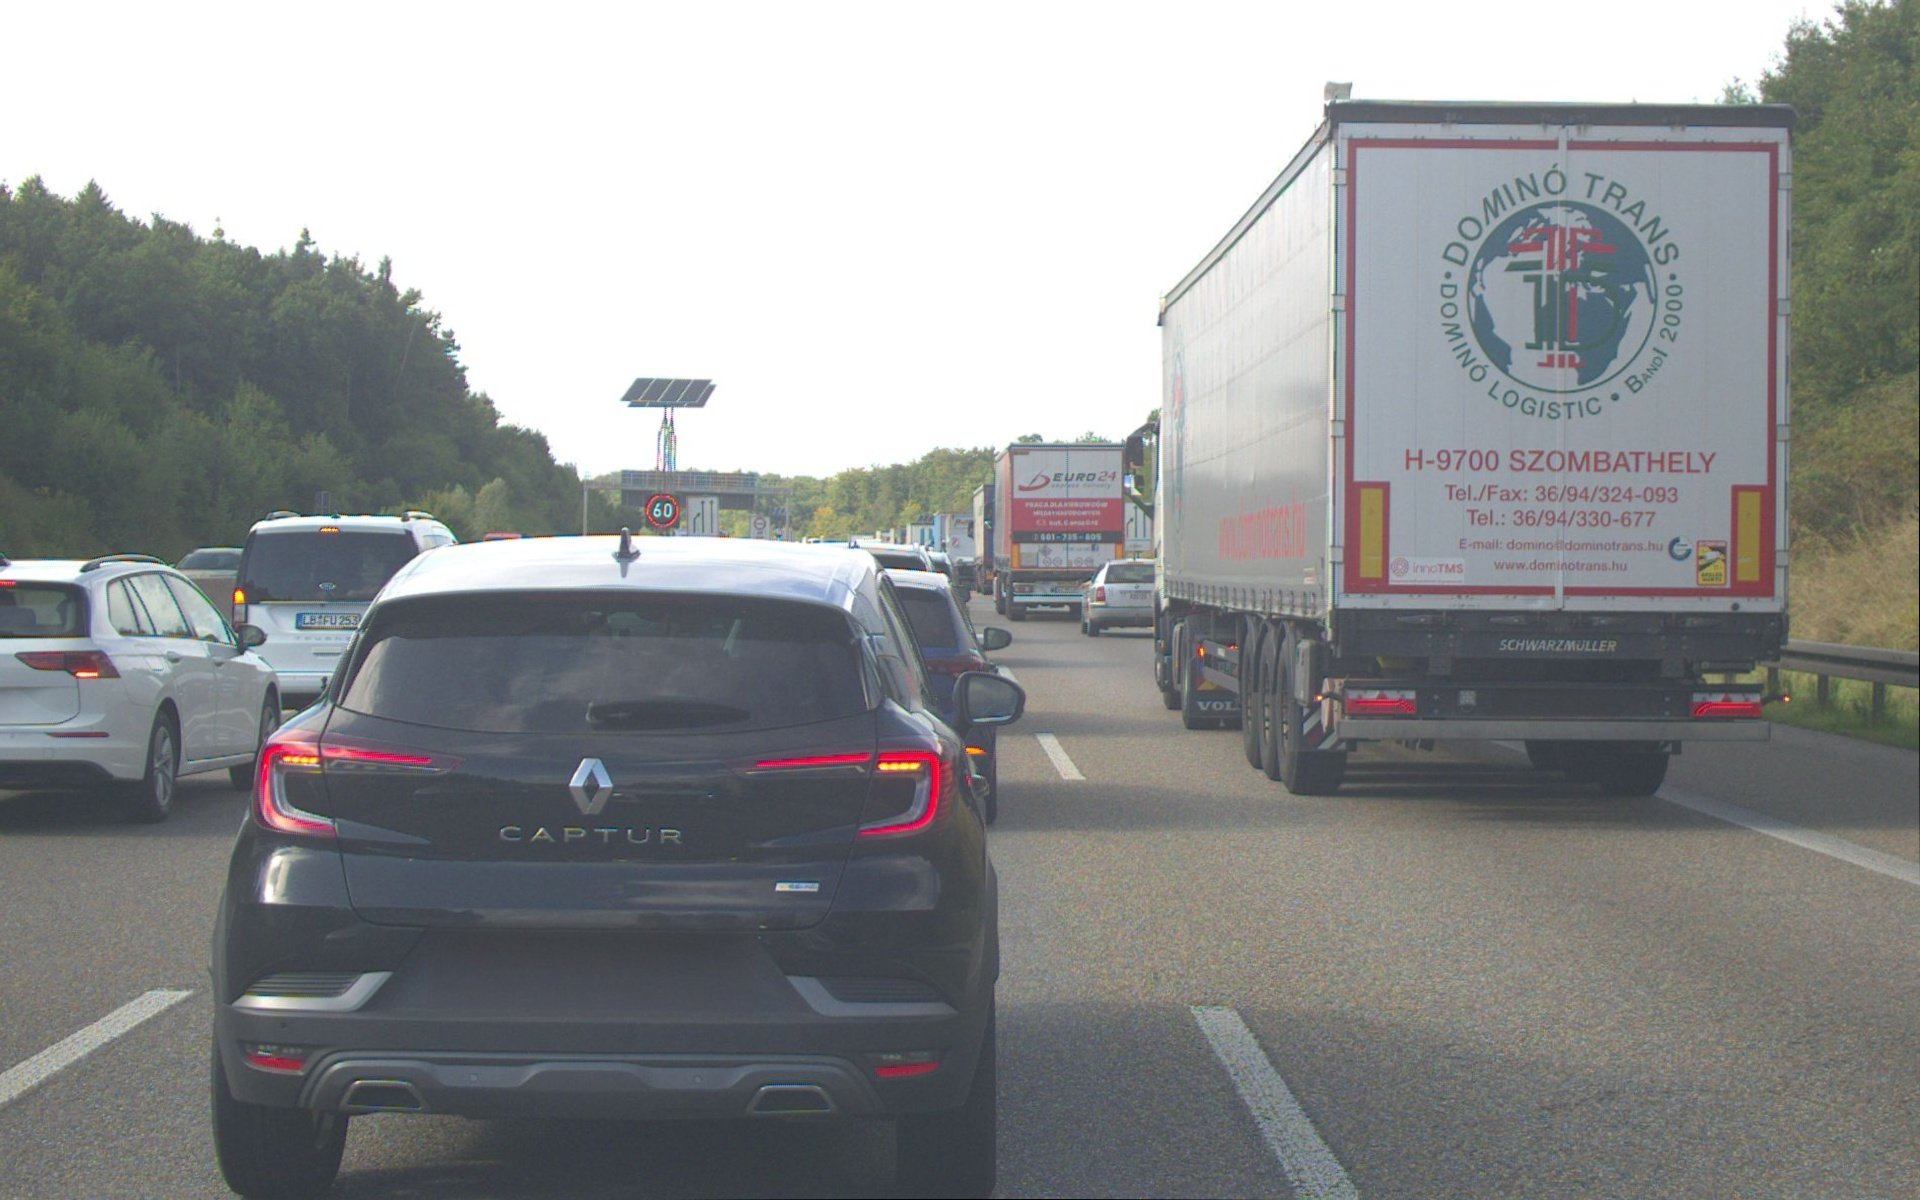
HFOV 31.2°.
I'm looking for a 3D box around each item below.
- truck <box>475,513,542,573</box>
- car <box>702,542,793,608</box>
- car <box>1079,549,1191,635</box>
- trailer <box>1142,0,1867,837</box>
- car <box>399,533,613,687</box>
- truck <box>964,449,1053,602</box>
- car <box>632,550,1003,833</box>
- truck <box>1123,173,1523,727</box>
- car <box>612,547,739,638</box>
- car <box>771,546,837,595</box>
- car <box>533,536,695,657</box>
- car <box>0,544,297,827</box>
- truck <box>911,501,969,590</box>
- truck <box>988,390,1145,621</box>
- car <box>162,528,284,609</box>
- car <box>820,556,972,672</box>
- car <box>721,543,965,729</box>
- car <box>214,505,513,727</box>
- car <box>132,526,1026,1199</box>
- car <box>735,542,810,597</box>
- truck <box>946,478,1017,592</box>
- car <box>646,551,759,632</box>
[{"bbox_3d":[-22.018,-2.802,167.951,2.422,2.845,6.431,1,1,0],"label":"truck"},{"bbox_3d":[-5.283,-0.644,85.796,1.993,1.607,4.000,1,1,0],"label":"car"},{"bbox_3d":[3.257,-0.161,64.451,1.804,1.527,3.926,1,0,-1],"label":"car"},{"bbox_3d":[3.260,-1.177,25.005,3.002,4.645,13.291,1,1,-1],"label":"trailer"},{"bbox_3d":[-5.110,0.095,39.170,1.855,1.635,3.925,1,0,1],"label":"car"},{"bbox_3d":[1.815,-2.750,131.222,3.166,5.486,12.737,1,0,1],"label":"truck"},{"bbox_3d":[-0.763,0.483,20.623,1.993,1.509,4.000,1,0,0],"label":"car"},{"bbox_3d":[3.202,-1.312,31.982,2.997,4.651,5.940,0,1,-1],"label":"truck"},{"bbox_3d":[-5.252,-0.141,63.856,1.993,1.607,4.000,1,0,0],"label":"car"},{"bbox_3d":[-5.228,-1.015,115.697,1.993,1.607,4.000,1,1,0],"label":"car"},{"bbox_3d":[-5.134,-0.058,51.508,1.993,1.716,4.000,1,0,0],"label":"car"},{"bbox_3d":[-5.193,0.419,19.913,1.804,1.456,4.308,0,0,1],"label":"car"},{"bbox_3d":[-1.143,-3.203,205.736,3.166,5.142,12.737,1,0,1],"label":"truck"},{"bbox_3d":[2.396,-2.112,81.686,3.365,5.027,12.737,1,0,1],"label":"truck"},{"bbox_3d":[-16.988,-0.743,79.428,1.852,1.803,4.625,1,1,0],"label":"car"},{"bbox_3d":[-0.839,0.174,47.615,1.993,1.509,4.000,1,0,0],"label":"car"},{"bbox_3d":[-0.971,0.285,30.515,1.993,1.509,4.000,1,0,0],"label":"car"},{"bbox_3d":[-5.145,0.115,30.207,1.911,1.783,4.418,1,0,-1],"label":"car"},{"bbox_3d":[-0.767,0.599,9.207,1.805,1.547,4.000,0,1,2],"label":"car"},{"bbox_3d":[-5.573,-0.924,102.456,1.993,1.607,4.000,1,1,0],"label":"car"},{"bbox_3d":[1.147,-3.194,172.854,3.167,5.486,12.736,1,0,2],"label":"truck"},{"bbox_3d":[-5.315,-0.192,71.415,1.993,1.607,4.000,1,0,0],"label":"car"}]
